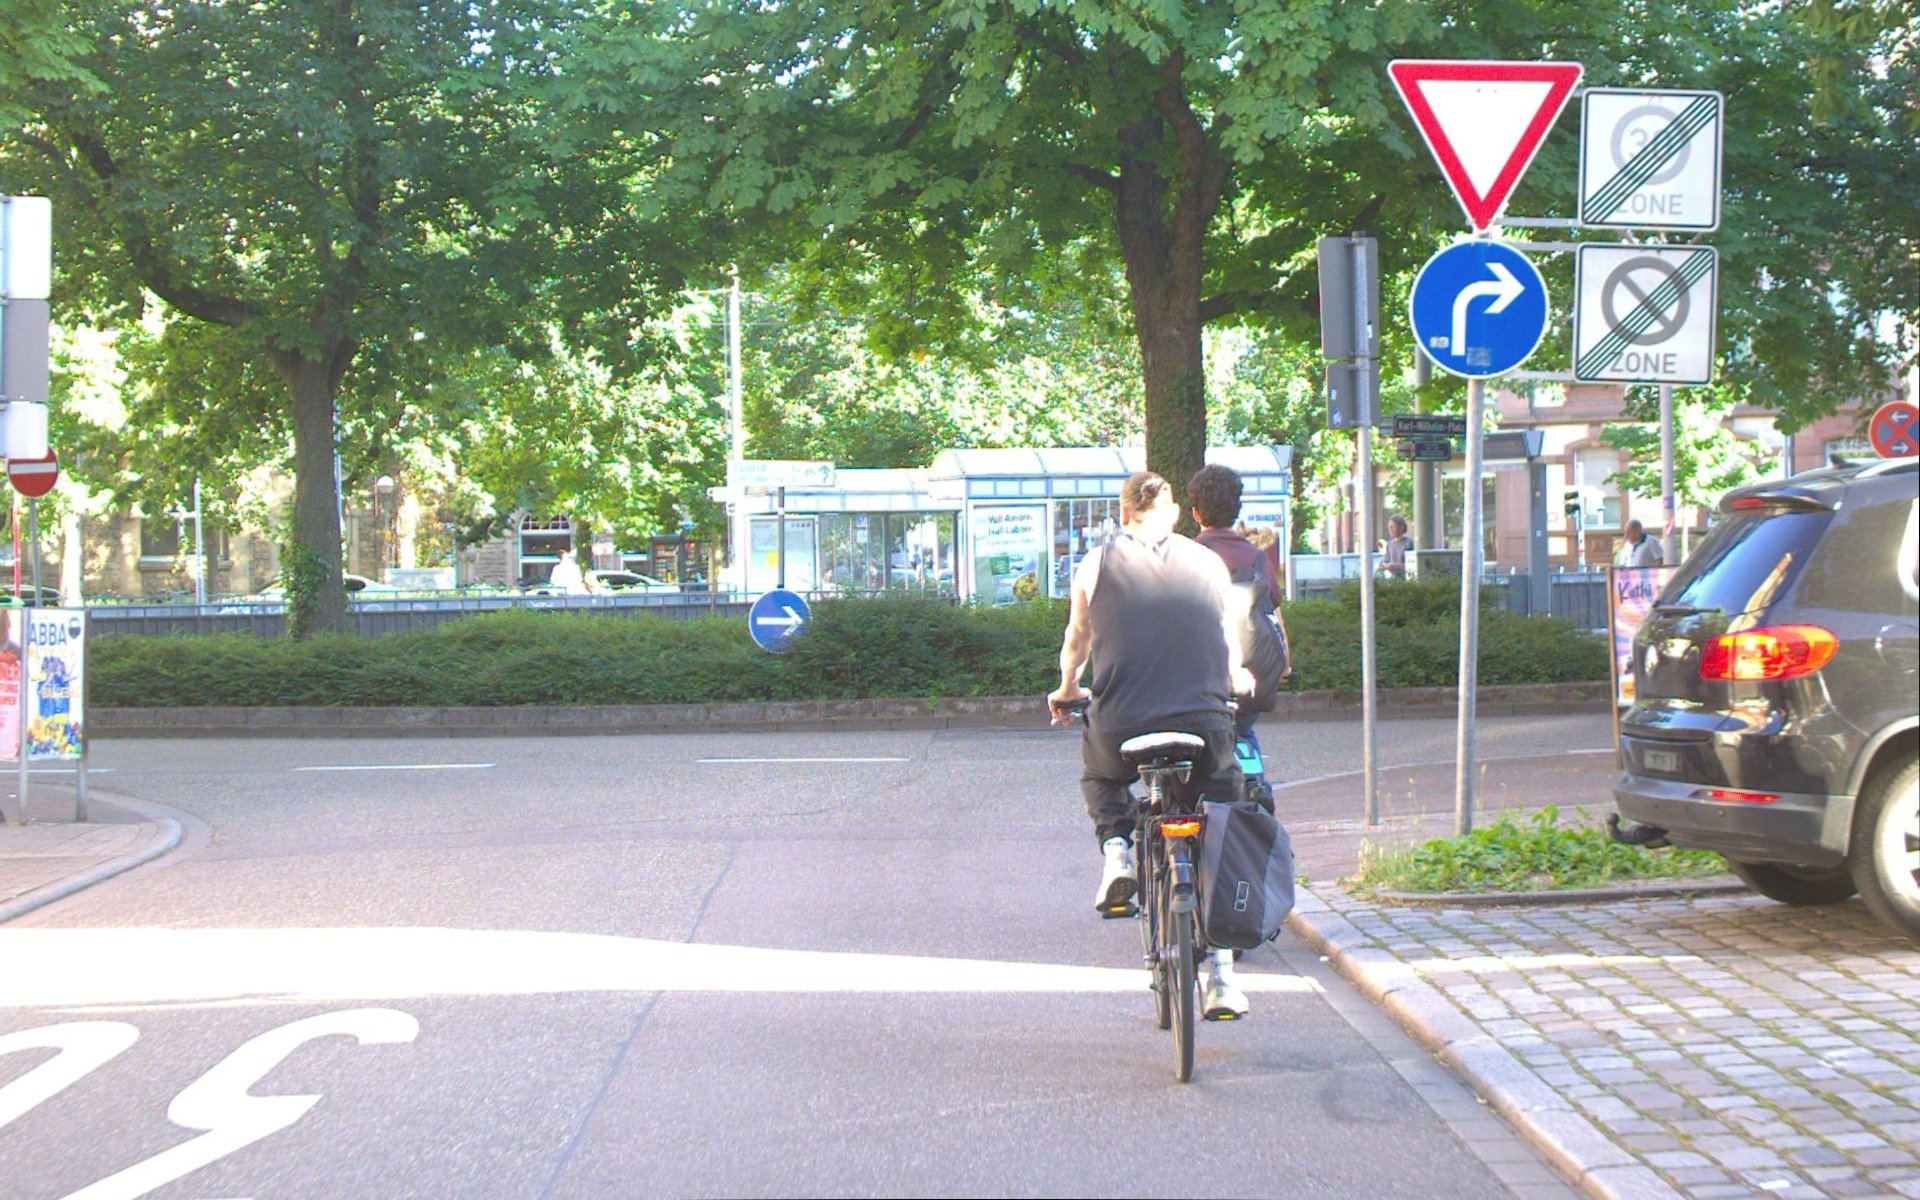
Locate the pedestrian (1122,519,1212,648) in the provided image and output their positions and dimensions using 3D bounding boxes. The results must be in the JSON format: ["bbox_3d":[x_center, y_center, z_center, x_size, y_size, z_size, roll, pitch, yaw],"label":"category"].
[{"bbox_3d":[3.079,-0.246,51.163,1.016,1.891,0.912,-1,1,-23],"label":"pedestrian"}]

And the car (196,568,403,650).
[{"bbox_3d":[-14.223,0.174,74.137,3.938,1.673,1.953,-2,1,-44],"label":"car"}]

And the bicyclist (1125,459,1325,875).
[{"bbox_3d":[0.993,0.248,13.088,0.671,1.509,1.069,-1,0,1],"label":"bicyclist"}]

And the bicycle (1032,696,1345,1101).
[{"bbox_3d":[0.633,0.828,10.245,0.737,1.008,2.061,1,0,-1],"label":"bicycle"}]

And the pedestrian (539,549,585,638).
[{"bbox_3d":[-7.711,-0.128,66.614,0.701,1.689,0.671,1,0,-23],"label":"pedestrian"}]

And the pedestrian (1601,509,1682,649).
[{"bbox_3d":[8.316,-0.261,41.995,0.916,1.678,0.780,-1,1,9],"label":"pedestrian"}]

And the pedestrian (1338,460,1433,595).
[{"bbox_3d":[5.378,-0.909,43.396,0.898,1.678,0.818,-1,1,33],"label":"pedestrian"}]

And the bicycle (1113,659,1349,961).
[{"bbox_3d":[1.000,0.757,13.147,0.674,1.050,2.061,-1,-1,-2],"label":"bicycle"}]

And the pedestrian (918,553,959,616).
[{"bbox_3d":[-0.567,-0.413,89.431,1.000,1.625,1.064,-1,1,-2],"label":"pedestrian"}]

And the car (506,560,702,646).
[{"bbox_3d":[-8.111,0.057,78.340,3.986,1.864,2.000,-1,1,-26],"label":"car"}]

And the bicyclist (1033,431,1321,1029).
[{"bbox_3d":[0.624,0.362,10.176,0.752,1.676,0.913,-1,1,-1],"label":"bicyclist"}]

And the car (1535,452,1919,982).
[{"bbox_3d":[4.370,0.296,12.391,4.105,1.707,2.024,-2,1,-5],"label":"car"}]

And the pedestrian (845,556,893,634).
[{"bbox_3d":[-1.833,-0.098,69.224,0.809,1.538,0.821,1,0,-12],"label":"pedestrian"}]
